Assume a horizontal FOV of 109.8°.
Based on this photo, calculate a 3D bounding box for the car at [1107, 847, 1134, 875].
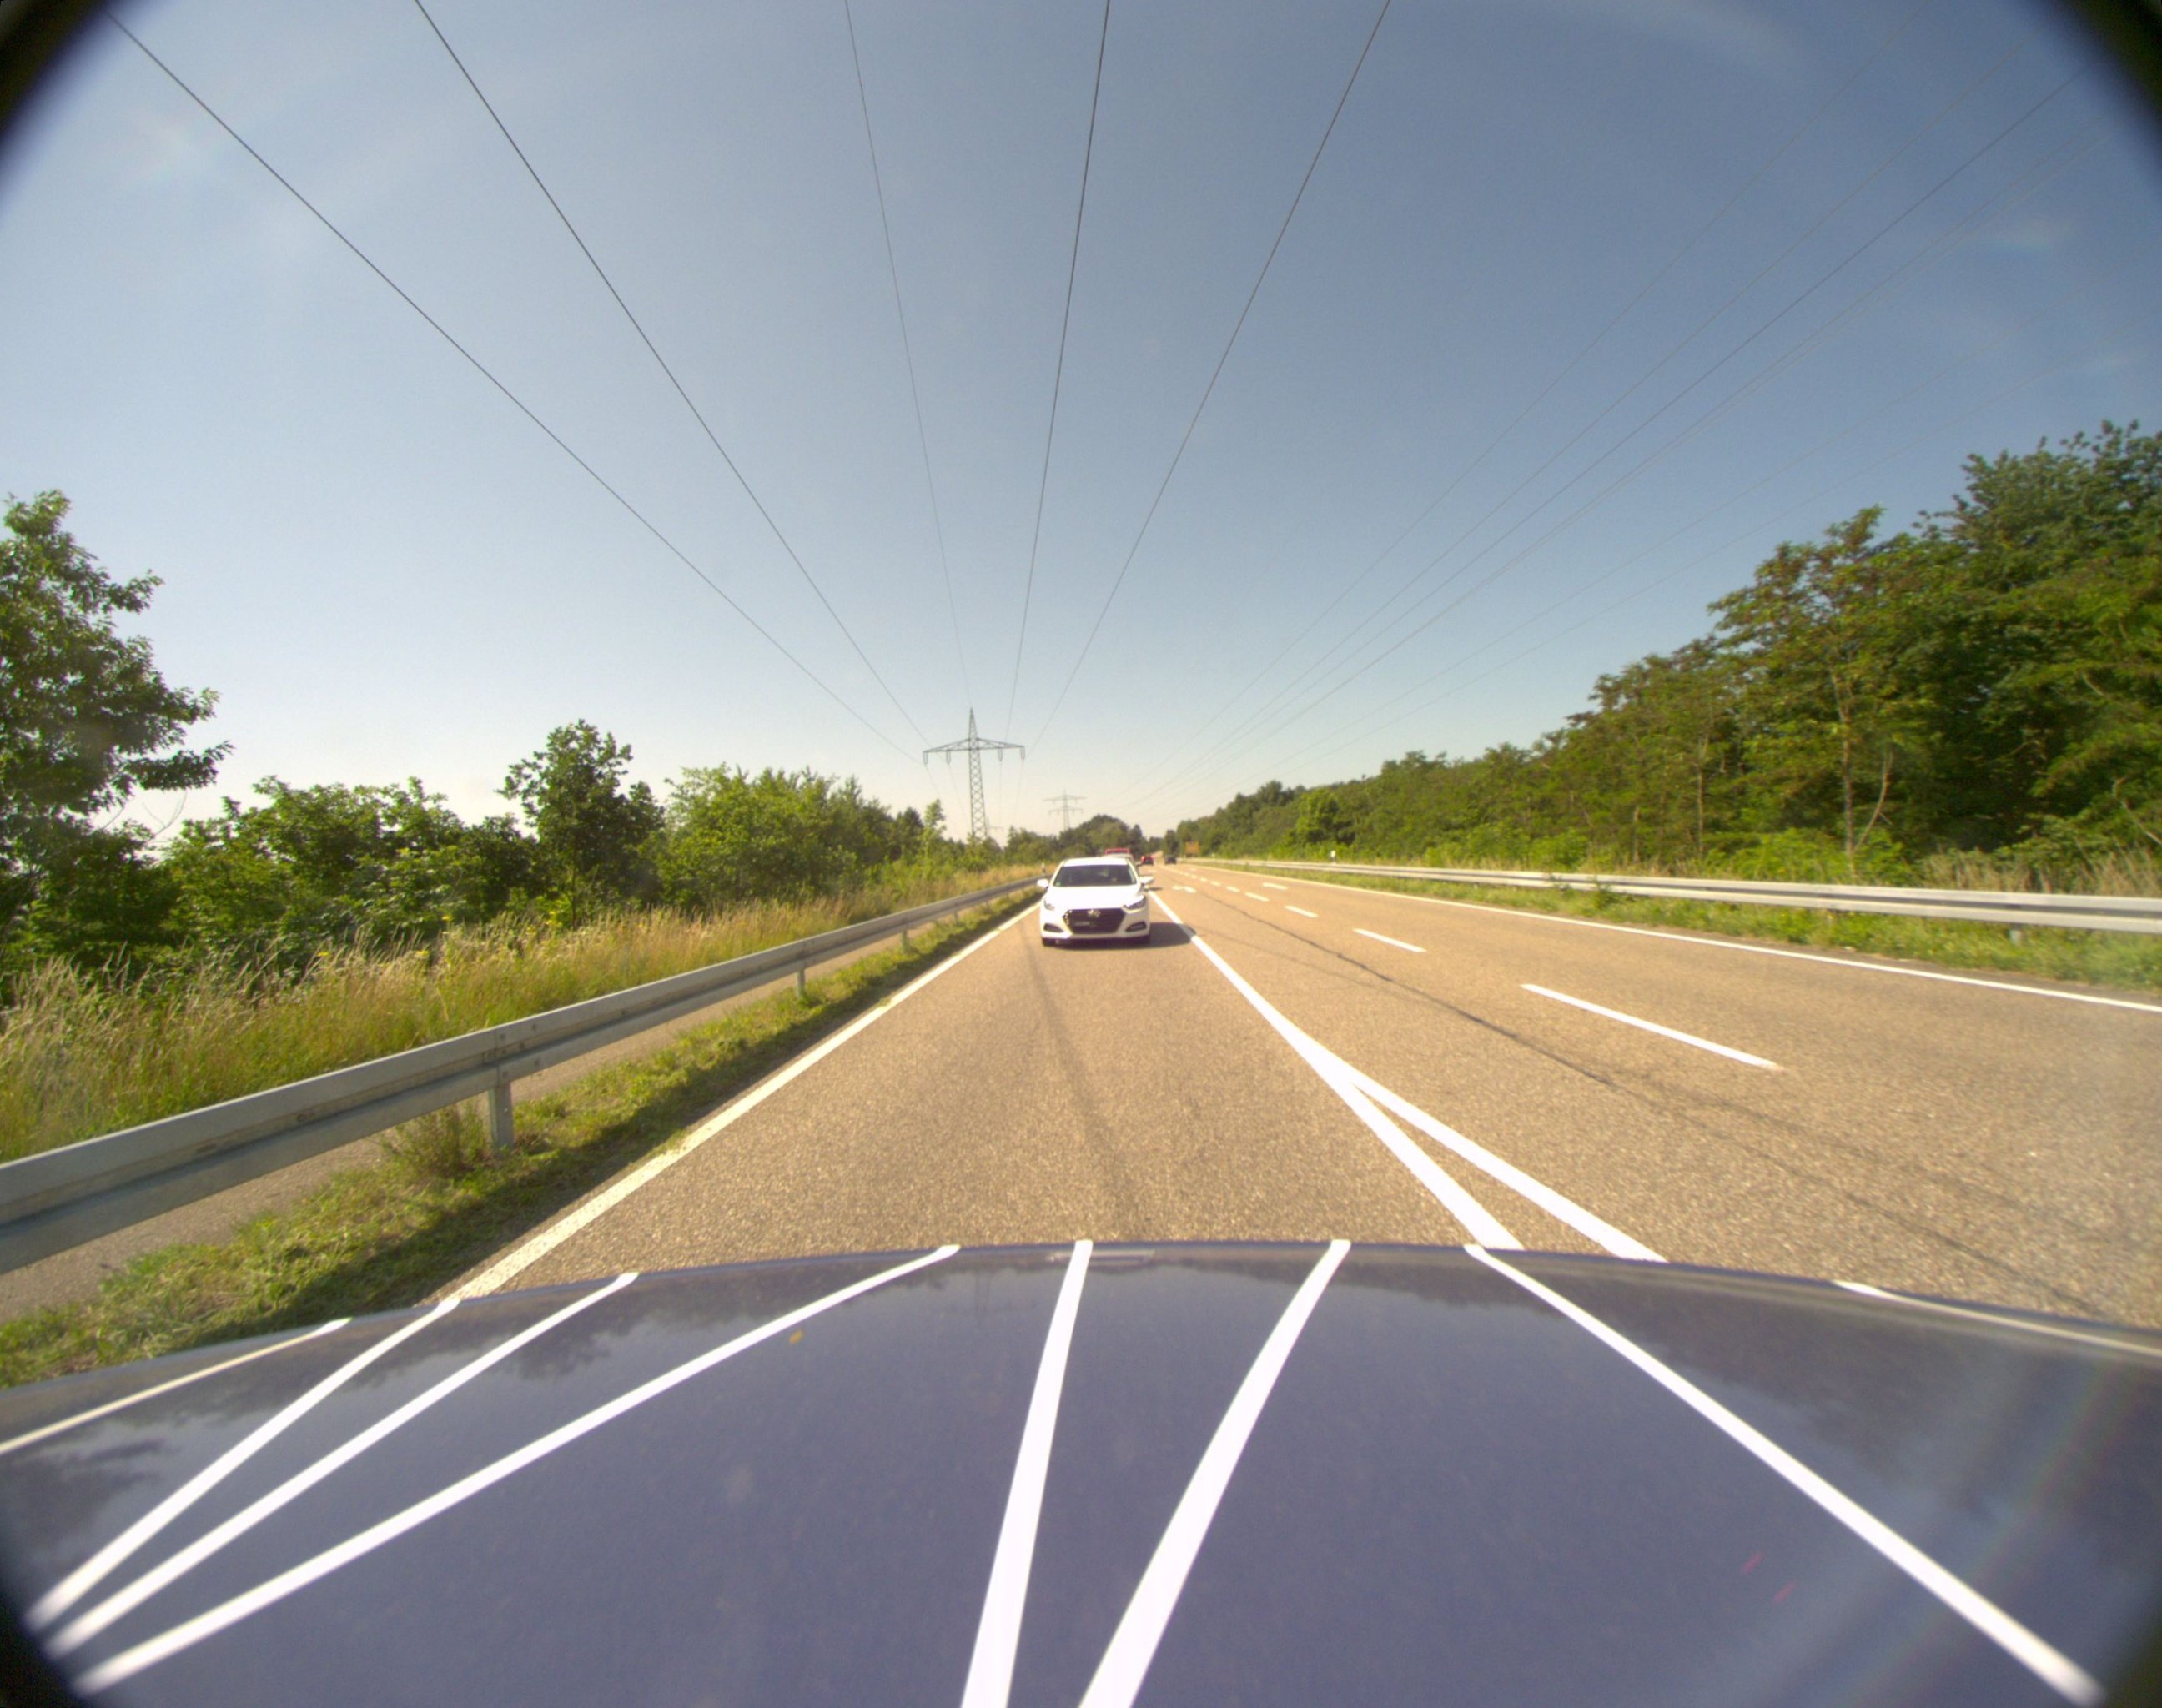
[{"bbox_3d":[2.821,0.466,55.422,1.794,1.892,4.838,-2,0,2],"label":"car"}]

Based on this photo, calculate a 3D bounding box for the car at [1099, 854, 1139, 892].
[{"bbox_3d":[1.574,0.759,31.862,1.549,1.460,3.661,-2,0,2],"label":"car"}]

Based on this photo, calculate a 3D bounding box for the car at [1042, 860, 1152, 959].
[{"bbox_3d":[0.354,0.893,14.124,1.683,1.471,4.474,-1,0,3],"label":"car"}]

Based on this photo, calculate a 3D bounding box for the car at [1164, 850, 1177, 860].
[{"bbox_3d":[13.937,0.124,118.958,1.663,1.433,4.215,-2,0,3],"label":"car"}]

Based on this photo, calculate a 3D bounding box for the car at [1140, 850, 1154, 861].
[{"bbox_3d":[9.648,0.172,111.314,1.731,1.482,4.423,-2,0,2],"label":"car"}]
